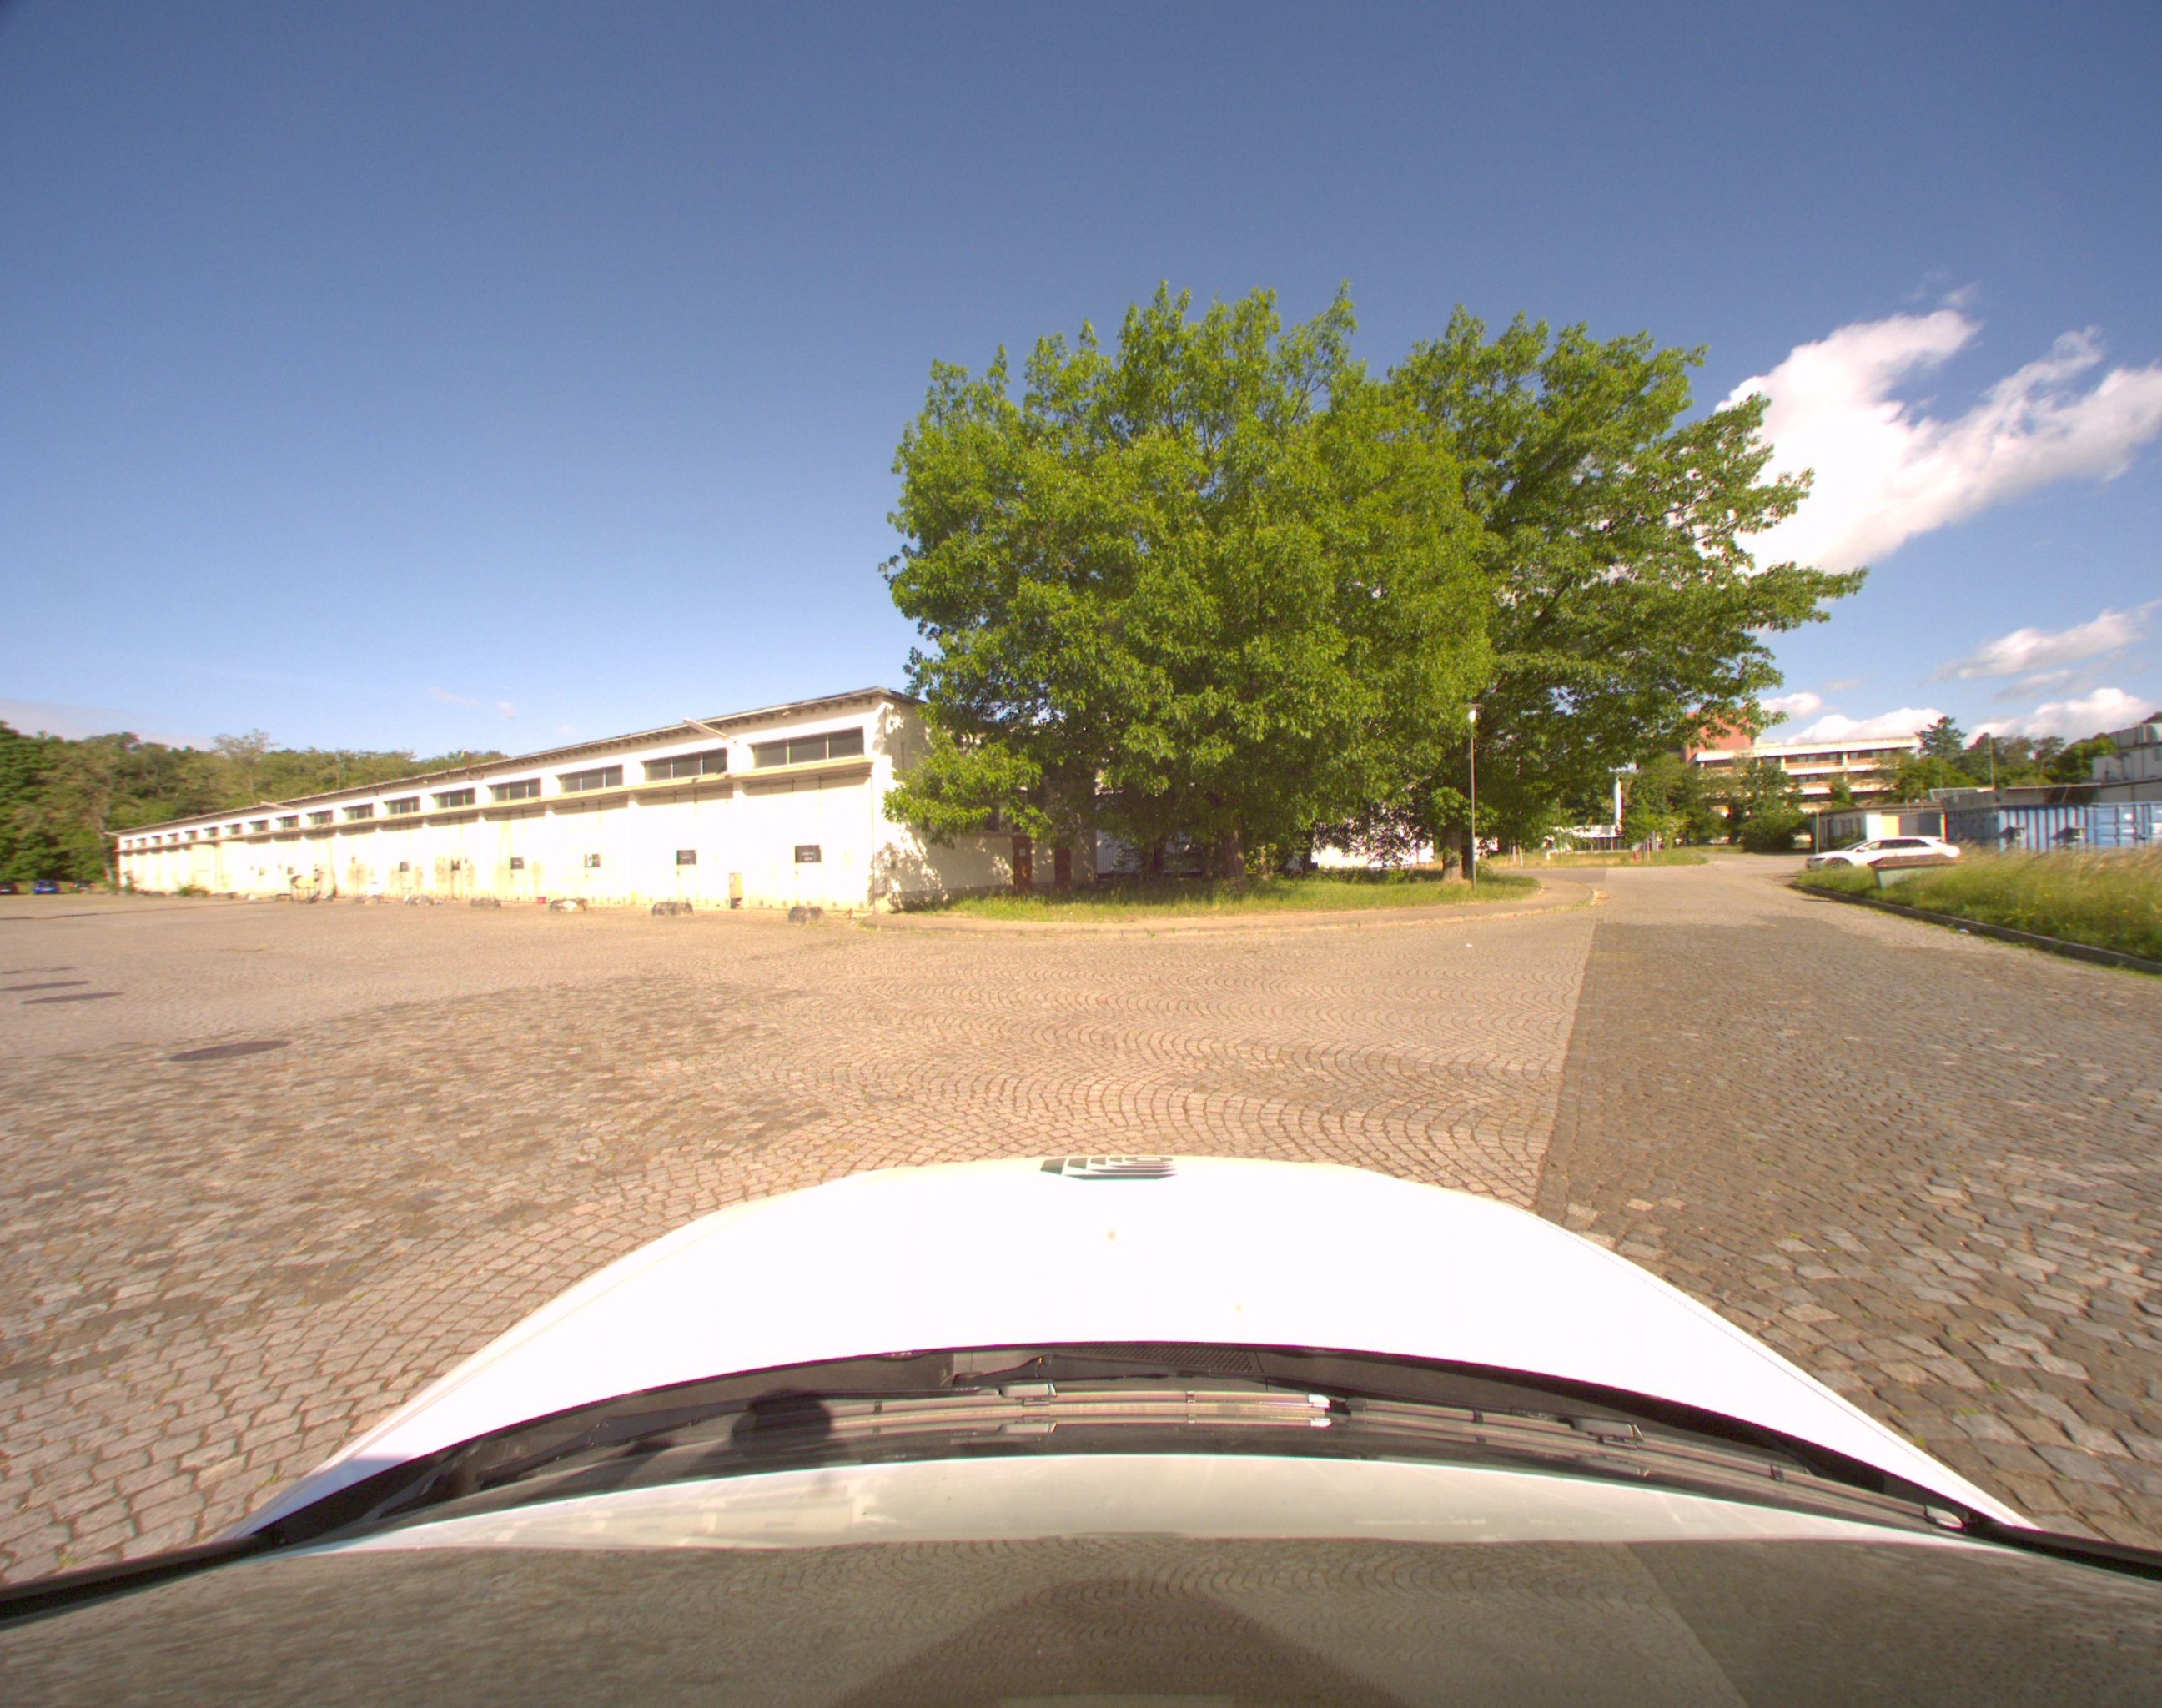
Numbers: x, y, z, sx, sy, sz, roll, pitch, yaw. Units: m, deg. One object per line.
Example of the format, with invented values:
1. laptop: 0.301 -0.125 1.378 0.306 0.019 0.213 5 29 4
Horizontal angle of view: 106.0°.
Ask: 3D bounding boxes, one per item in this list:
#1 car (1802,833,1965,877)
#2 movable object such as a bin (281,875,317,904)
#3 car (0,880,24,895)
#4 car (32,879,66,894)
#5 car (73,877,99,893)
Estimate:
1. car: 33.338 0.066 34.025 4.543 1.677 1.887 -1 0 33
2. movable object such as a bin: -36.370 1.645 37.865 1.264 1.331 0.831 -2 -1 28
3. car: -106.827 3.317 80.899 3.949 1.463 2.013 -2 0 40
4. car: -105.422 3.309 83.237 3.948 1.420 2.013 -2 -1 40
5. car: -105.033 3.246 86.003 3.949 1.563 1.701 -2 0 40
